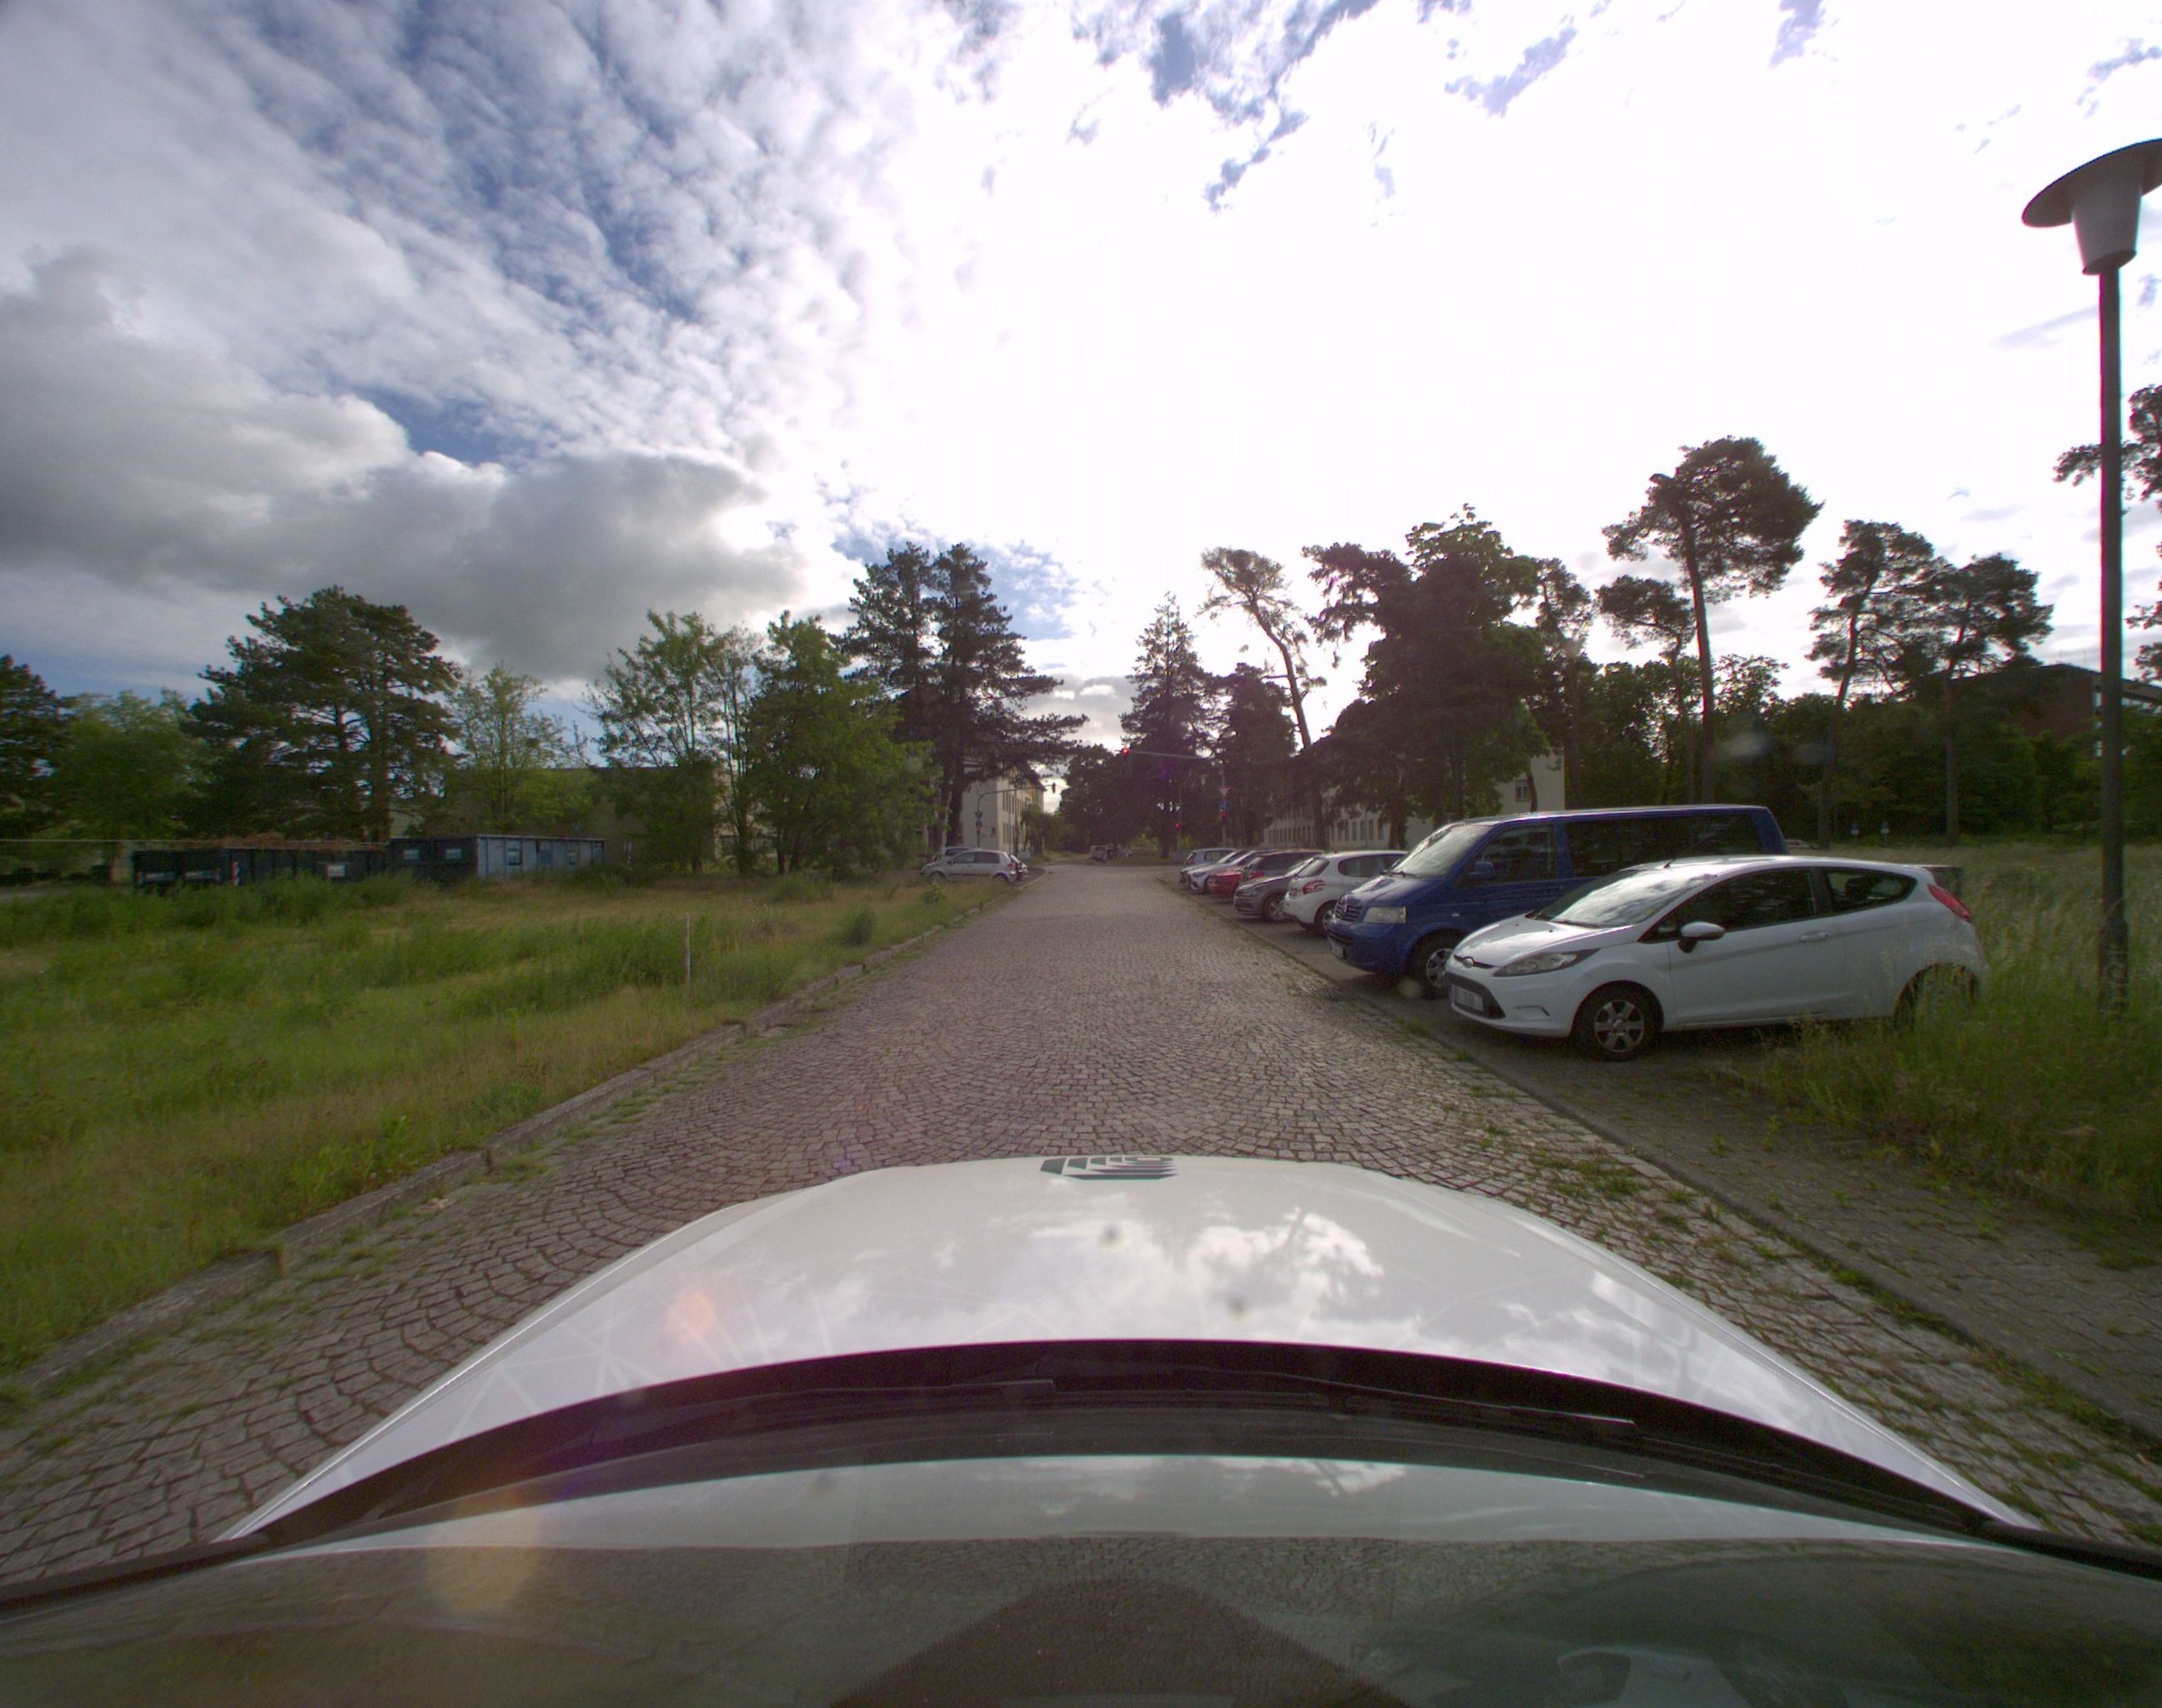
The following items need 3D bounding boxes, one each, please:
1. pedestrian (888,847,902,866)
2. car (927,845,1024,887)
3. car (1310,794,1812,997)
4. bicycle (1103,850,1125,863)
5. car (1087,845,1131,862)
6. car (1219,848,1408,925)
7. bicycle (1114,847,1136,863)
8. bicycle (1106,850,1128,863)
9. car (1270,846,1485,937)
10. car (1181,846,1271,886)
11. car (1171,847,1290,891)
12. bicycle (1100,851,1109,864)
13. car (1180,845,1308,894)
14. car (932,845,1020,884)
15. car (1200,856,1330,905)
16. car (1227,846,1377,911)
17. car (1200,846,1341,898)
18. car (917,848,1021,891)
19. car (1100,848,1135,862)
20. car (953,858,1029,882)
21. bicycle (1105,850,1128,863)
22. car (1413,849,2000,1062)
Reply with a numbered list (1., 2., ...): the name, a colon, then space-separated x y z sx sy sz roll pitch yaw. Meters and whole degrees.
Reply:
1. pedestrian: -15.173 0.201 66.447 0.895 1.498 0.905 -1 0 2
2. car: -4.477 0.491 34.924 3.981 1.706 1.997 -1 0 -5
3. car: 5.256 0.419 9.331 4.768 2.039 1.737 -1 0 -2
4. bicycle: 3.398 0.268 83.967 2.157 1.268 0.811 -1 0 -6
5. car: 3.412 -0.052 99.994 5.050 2.013 1.994 0 0 -10
6. car: 5.006 0.647 17.701 3.598 1.506 1.659 -1 0 -10
7. bicycle: 4.550 0.099 83.454 2.157 1.615 0.811 -1 0 -6
8. bicycle: 3.599 0.260 82.164 2.157 1.268 0.811 -1 0 -6
9. car: 5.268 0.629 14.761 3.283 1.504 1.663 -1 0 -1
10. car: 5.866 0.470 33.155 3.383 1.543 1.389 -1 0 -5
11. car: 5.583 0.524 30.587 4.116 1.543 1.661 -1 0 -5
12. bicycle: 2.267 0.331 78.416 0.806 1.268 1.974 -1 0 2
13. car: 5.517 0.490 27.772 3.980 1.543 1.661 -1 0 -5
14. car: -4.838 0.465 37.880 3.982 1.750 1.923 -1 0 -6
15. car: 5.219 0.718 23.294 3.287 1.267 1.661 -1 0 -5
16. car: 5.538 0.580 20.575 3.292 1.504 1.659 -1 0 -10
17. car: 5.886 0.531 25.535 3.980 1.543 1.661 -1 0 -5
18. car: -4.387 0.589 32.434 3.981 1.552 1.997 -1 0 -5
19. car: 4.305 0.071 96.708 3.981 1.644 1.997 -1 0 -5
20. car: -4.404 0.771 40.195 3.665 1.094 1.643 -1 1 -5
21. bicycle: 3.608 0.263 82.752 2.157 1.268 0.811 -1 0 -6
22. car: 4.996 0.738 6.861 3.712 1.424 1.653 -2 0 -2
